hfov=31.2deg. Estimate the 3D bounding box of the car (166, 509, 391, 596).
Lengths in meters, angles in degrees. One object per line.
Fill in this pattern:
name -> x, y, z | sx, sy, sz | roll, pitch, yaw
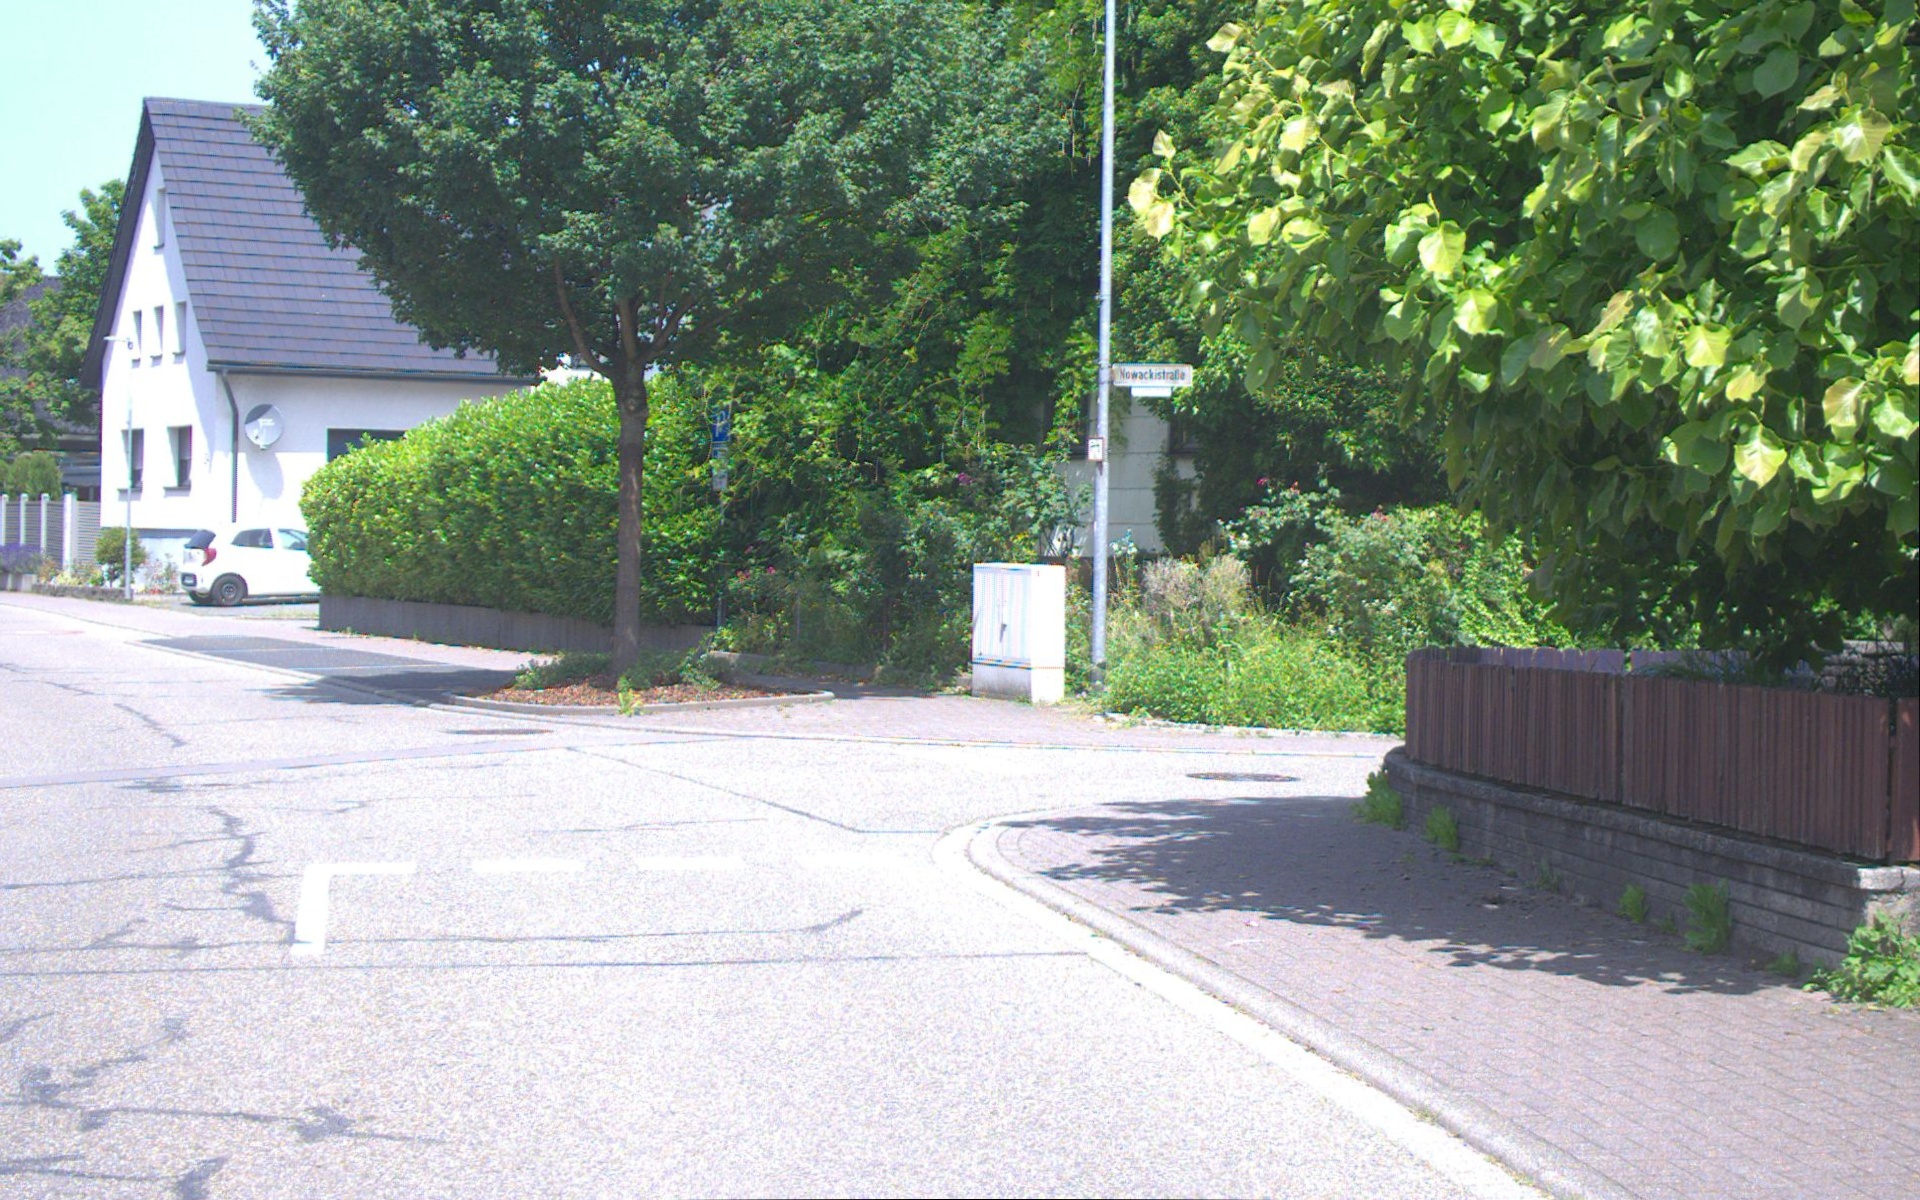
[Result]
car -> -12.453, -0.892, 62.884 | 3.657, 1.469, 1.766 | -2, 3, -29
